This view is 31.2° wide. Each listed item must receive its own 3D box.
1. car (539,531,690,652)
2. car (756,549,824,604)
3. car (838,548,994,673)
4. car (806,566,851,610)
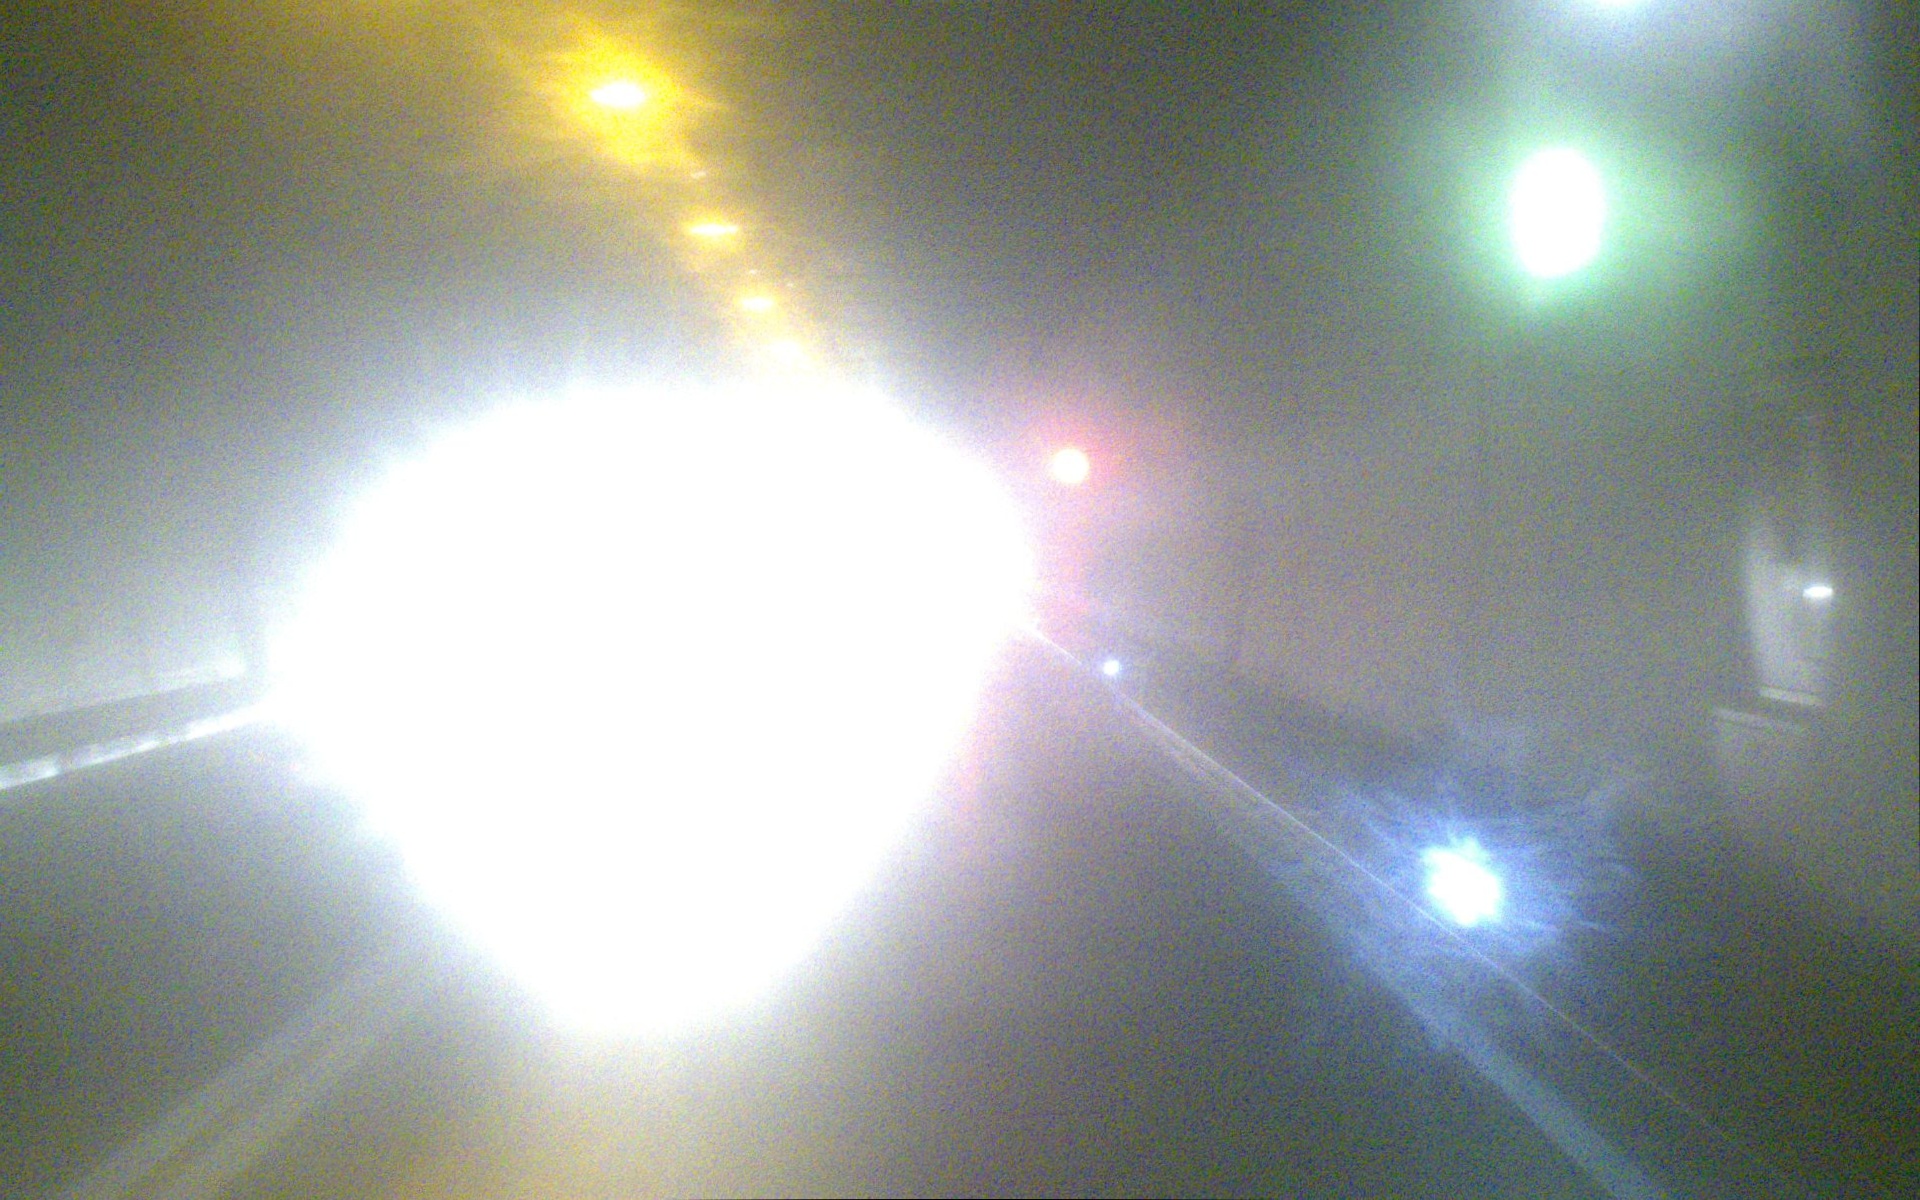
[{"bbox_3d":[-4.529,-0.133,45.432,1.690,1.500,3.745,1,1,-2],"label":"car"},{"bbox_3d":[-4.595,-0.660,93.388,1.710,1.457,3.575,0,1,-1],"label":"car"},{"bbox_3d":[-0.637,0.129,48.558,2.089,1.656,4.000,1,1,-1],"label":"car"},{"bbox_3d":[-5.288,-0.502,138.828,1.669,1.641,3.907,-2,2,-1],"label":"car"}]
